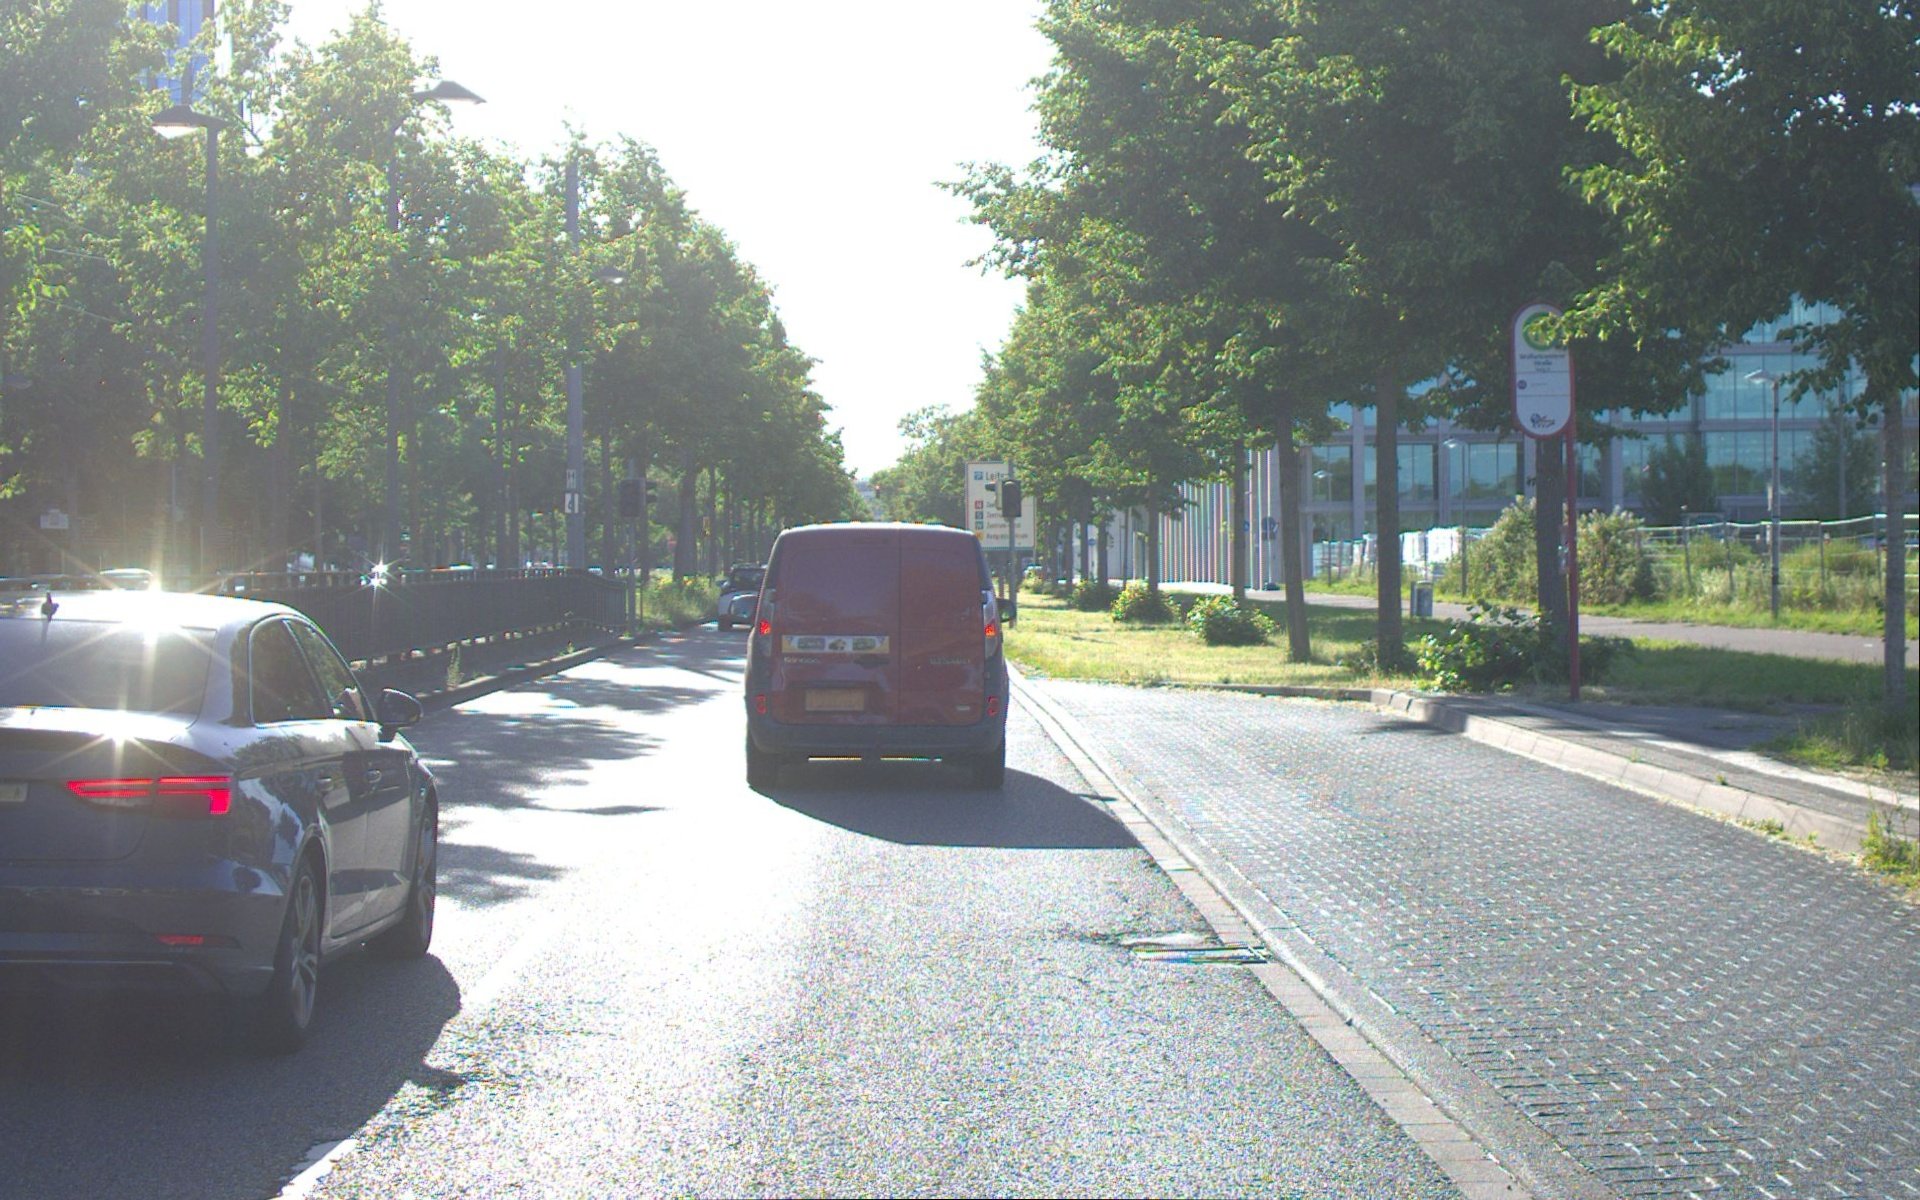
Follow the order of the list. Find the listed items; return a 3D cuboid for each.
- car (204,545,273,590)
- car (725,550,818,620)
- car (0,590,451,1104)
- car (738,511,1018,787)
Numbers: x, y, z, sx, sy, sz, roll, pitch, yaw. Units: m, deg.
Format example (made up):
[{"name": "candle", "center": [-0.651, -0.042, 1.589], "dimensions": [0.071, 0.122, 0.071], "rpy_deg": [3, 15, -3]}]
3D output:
[{"name": "car", "center": [-25.023, -1.142, 119.271], "dimensions": [1.679, 1.515, 3.701], "rpy_deg": [-1, 1, -1]}, {"name": "car", "center": [-4.039, -0.339, 73.760], "dimensions": [1.942, 1.436, 4.001], "rpy_deg": [-1, 1, -3]}, {"name": "car", "center": [-2.875, 0.674, 11.524], "dimensions": [1.721, 1.362, 4.146], "rpy_deg": [1, 0, 0]}, {"name": "car", "center": [-0.630, 0.299, 24.455], "dimensions": [1.797, 1.771, 4.000], "rpy_deg": [1, 1, -3]}]
